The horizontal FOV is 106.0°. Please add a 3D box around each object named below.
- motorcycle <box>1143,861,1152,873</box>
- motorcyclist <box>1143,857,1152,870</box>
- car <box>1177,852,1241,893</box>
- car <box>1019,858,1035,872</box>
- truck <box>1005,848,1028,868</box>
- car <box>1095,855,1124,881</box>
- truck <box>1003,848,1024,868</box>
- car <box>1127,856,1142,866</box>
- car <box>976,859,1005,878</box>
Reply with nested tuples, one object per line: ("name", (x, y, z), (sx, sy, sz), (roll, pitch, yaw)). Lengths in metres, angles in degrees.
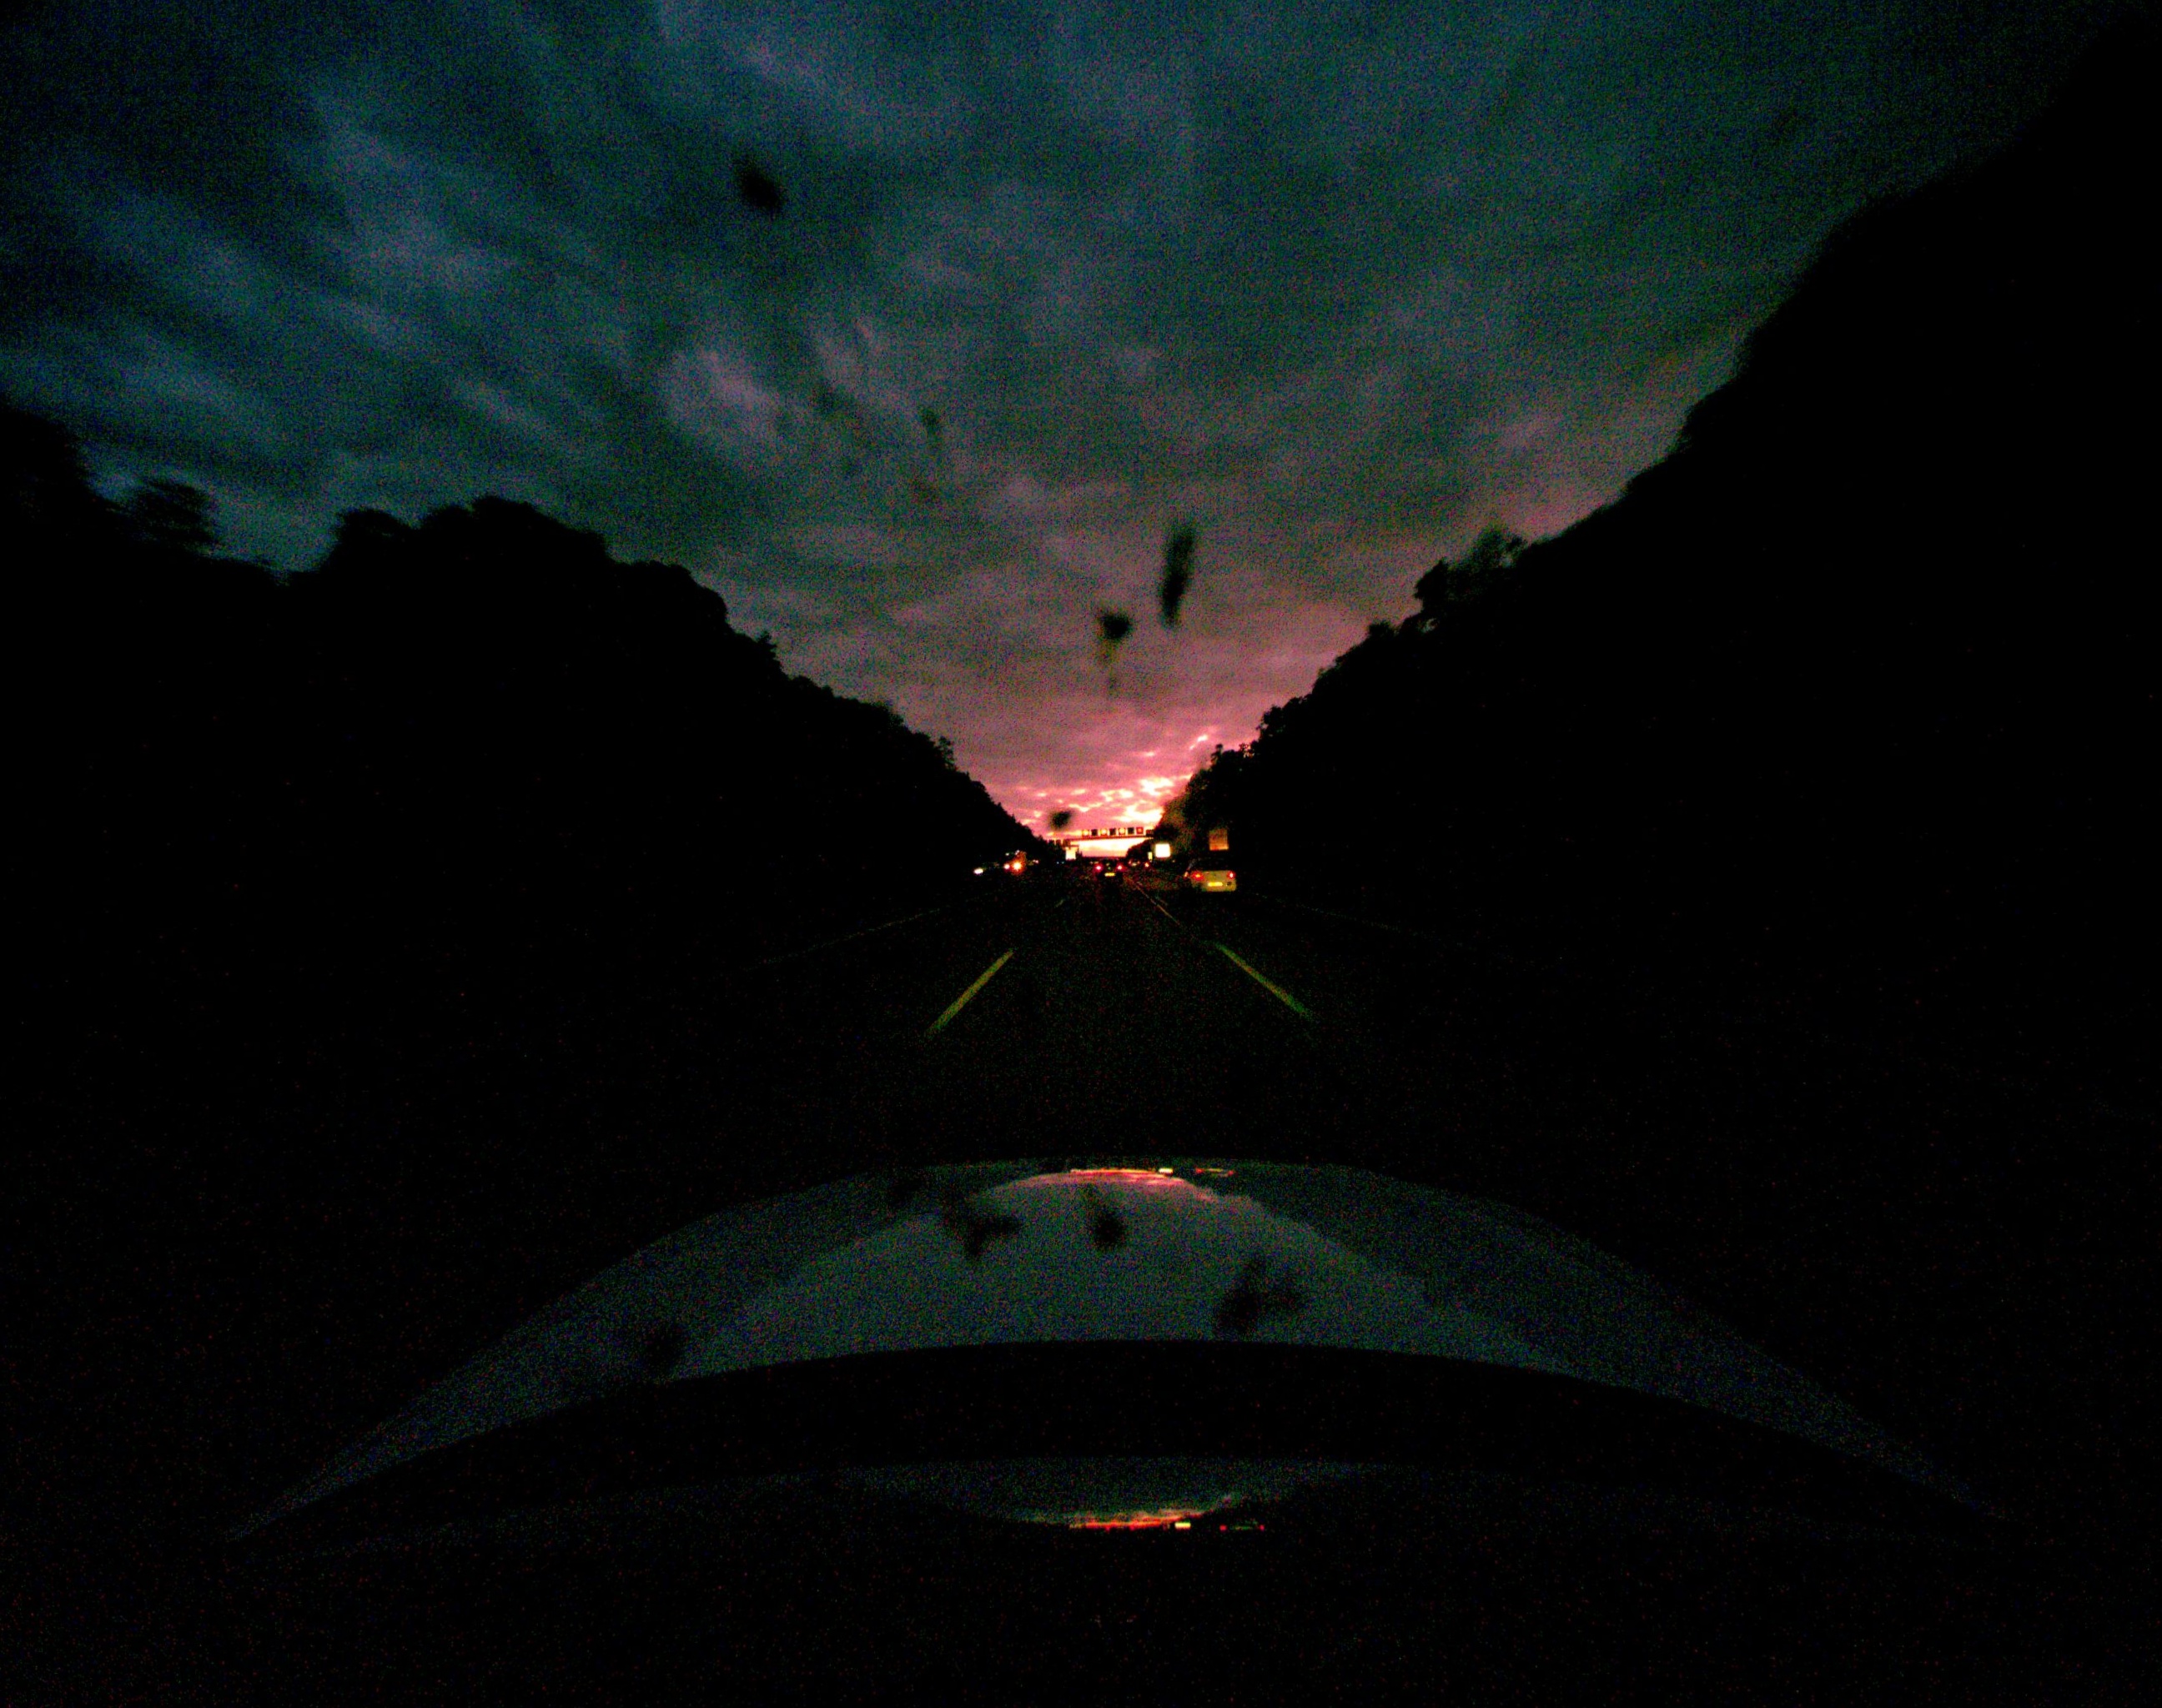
("motorcycle", (6.736, 1.326, 82.552), (0.826, 1.134, 2.476), (-2, -1, 2))
("motorcyclist", (6.719, 0.944, 82.491), (0.826, 1.291, 1.190), (-2, -1, 1))
("car", (4.883, 0.717, 31.628), (1.820, 1.476, 4.397), (0, -1, 0))
("car", (-7.576, 1.504, 114.589), (1.924, 1.931, 5.111), (-3, 0, 0))
("truck", (-13.557, 0.867, 172.679), (3.345, 4.003, 14.498), (-2, 0, 1))
("car", (1.757, 0.862, 49.978), (1.697, 1.509, 4.233), (0, -1, 2))
("truck", (-13.694, 0.801, 165.607), (3.368, 4.003, 6.880), (-2, 0, 1))
("car", (8.318, 1.039, 127.123), (1.861, 1.494, 4.394), (0, -1, -3))
("car", (-8.534, 1.343, 76.982), (1.909, 1.613, 5.161), (-3, 0, 2))
